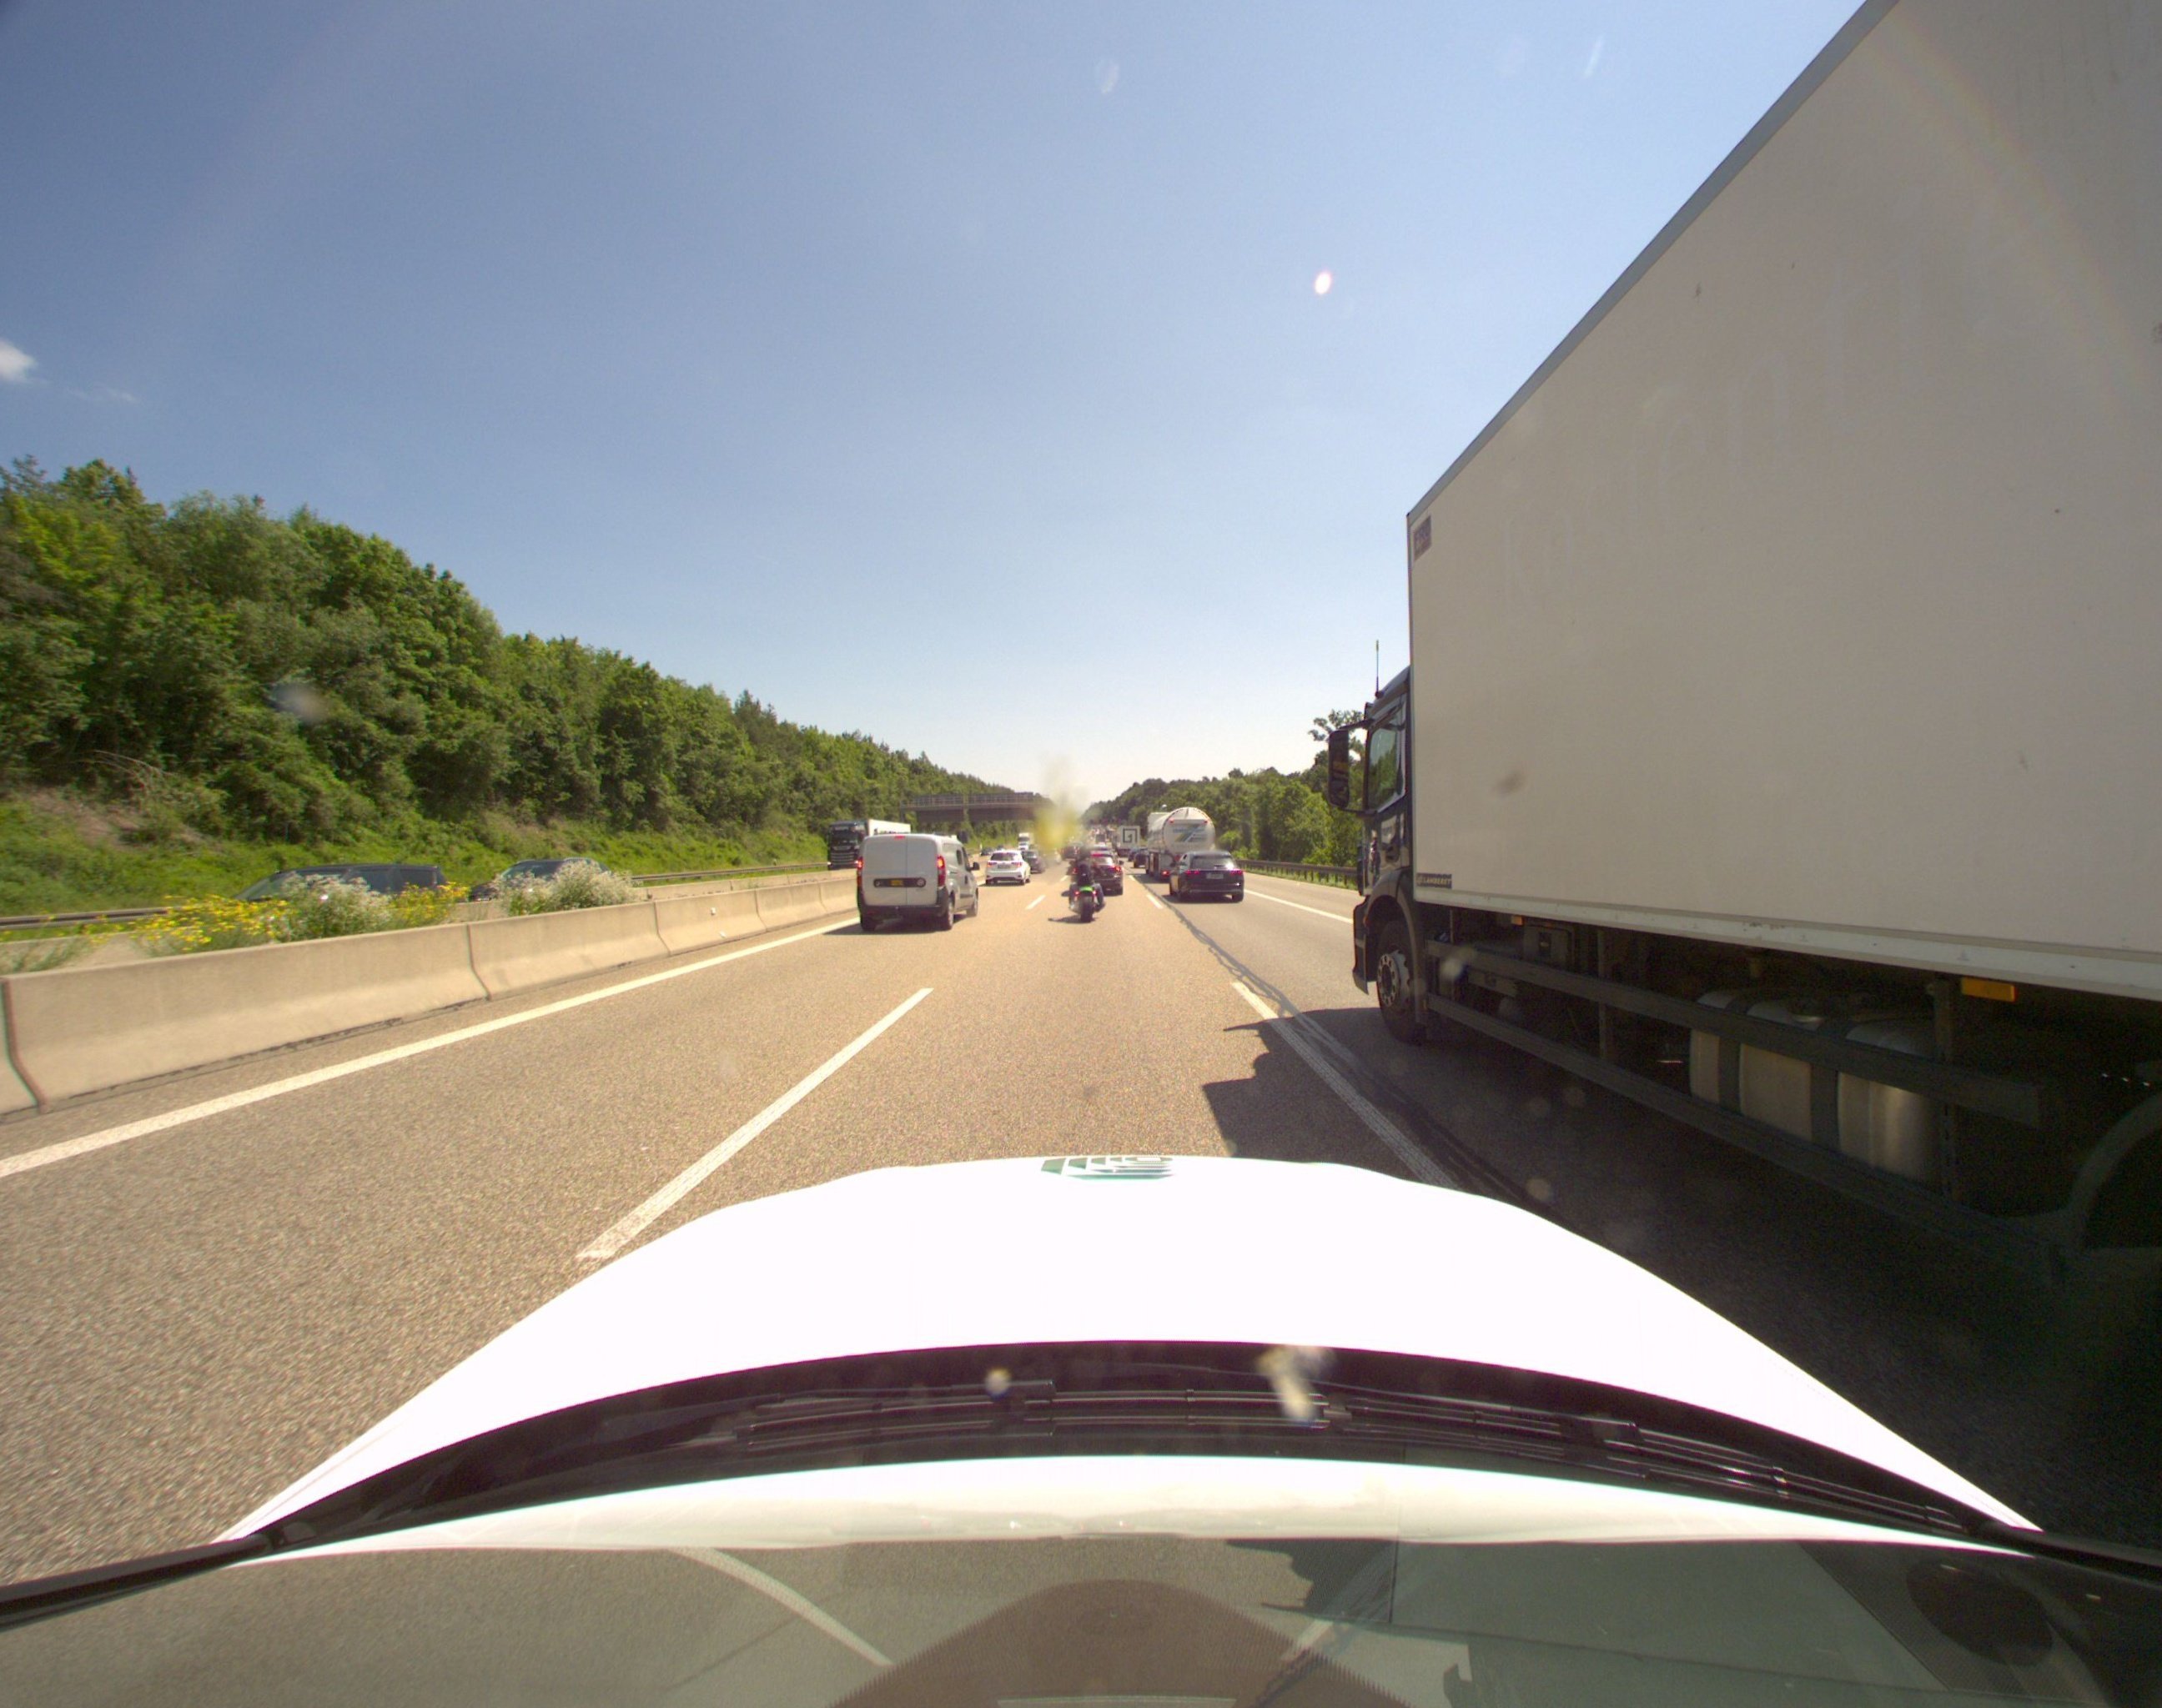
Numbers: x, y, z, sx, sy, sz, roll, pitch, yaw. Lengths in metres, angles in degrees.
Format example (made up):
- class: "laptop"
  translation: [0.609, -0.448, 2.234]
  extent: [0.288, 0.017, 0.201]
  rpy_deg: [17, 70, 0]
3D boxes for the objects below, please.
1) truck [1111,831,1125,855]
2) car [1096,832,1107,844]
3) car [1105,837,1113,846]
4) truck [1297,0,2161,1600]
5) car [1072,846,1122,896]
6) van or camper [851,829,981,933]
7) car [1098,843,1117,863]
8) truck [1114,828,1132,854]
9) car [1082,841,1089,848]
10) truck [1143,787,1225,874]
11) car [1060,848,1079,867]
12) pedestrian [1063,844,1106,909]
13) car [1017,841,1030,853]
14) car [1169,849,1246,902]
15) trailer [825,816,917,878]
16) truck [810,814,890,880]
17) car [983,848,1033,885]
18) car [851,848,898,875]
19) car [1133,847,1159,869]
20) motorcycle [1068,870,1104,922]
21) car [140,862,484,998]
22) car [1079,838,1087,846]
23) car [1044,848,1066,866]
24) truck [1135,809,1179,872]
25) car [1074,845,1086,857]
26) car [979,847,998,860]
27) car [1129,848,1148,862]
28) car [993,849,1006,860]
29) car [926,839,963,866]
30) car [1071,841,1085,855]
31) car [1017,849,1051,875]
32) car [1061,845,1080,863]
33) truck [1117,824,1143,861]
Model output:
- class: "truck"
  translation: [8.094, -2.470, 179.009]
  extent: [3.022, 5.139, 9.986]
  rpy_deg: [0, 0, 1]
- class: "car"
  translation: [4.927, -3.834, 196.521]
  extent: [2.495, 2.587, 5.018]
  rpy_deg: [-2, 0, 1]
- class: "car"
  translation: [7.377, -3.290, 215.266]
  extent: [1.986, 2.013, 4.001]
  rpy_deg: [-4, -1, 2]
- class: "truck"
  translation: [3.504, -0.465, 3.223]
  extent: [2.678, 3.876, 9.783]
  rpy_deg: [-4, 0, 1]
- class: "car"
  translation: [0.559, 0.549, 28.442]
  extent: [1.527, 1.510, 4.000]
  rpy_deg: [-3, 0, 1]
- class: "van or camper"
  translation: [-3.345, 0.524, 17.276]
  extent: [1.789, 1.892, 4.161]
  rpy_deg: [-1, -1, 1]
- class: "car"
  translation: [3.009, -0.109, 91.933]
  extent: [1.986, 2.013, 4.001]
  rpy_deg: [-4, -1, 2]
- class: "truck"
  translation: [7.533, -2.270, 147.999]
  extent: [3.022, 4.542, 9.986]
  rpy_deg: [0, 0, 1]
- class: "car"
  translation: [1.410, -2.638, 236.912]
  extent: [1.986, 2.013, 4.002]
  rpy_deg: [-1, 0, 2]
- class: "truck"
  translation: [4.881, -0.999, 40.452]
  extent: [2.977, 3.671, 9.290]
  rpy_deg: [-4, -1, 2]
- class: "car"
  translation: [-1.348, 0.433, 97.677]
  extent: [1.986, 2.013, 4.002]
  rpy_deg: [-4, -1, 2]
- class: "pedestrian"
  translation: [0.098, 0.480, 18.191]
  extent: [0.846, 1.361, 0.962]
  rpy_deg: [-3, 0, 2]
- class: "car"
  translation: [-11.240, -1.347, 158.995]
  extent: [1.873, 2.013, 4.470]
  rpy_deg: [-5, -1, 2]
- class: "car"
  translation: [3.762, 0.581, 24.835]
  extent: [1.822, 1.470, 4.001]
  rpy_deg: [-1, 0, 1]
- class: "trailer"
  translation: [-17.448, -0.508, 69.020]
  extent: [3.711, 4.528, 13.334]
  rpy_deg: [-4, -1, 2]
- class: "truck"
  translation: [-17.610, -0.470, 62.710]
  extent: [3.712, 4.528, 7.326]
  rpy_deg: [-4, -1, 1]
- class: "car"
  translation: [-3.138, 0.499, 35.838]
  extent: [1.693, 1.478, 4.001]
  rpy_deg: [-2, 0, 1]
- class: "car"
  translation: [-13.378, 0.482, 52.994]
  extent: [1.680, 1.607, 4.515]
  rpy_deg: [-4, -1, 1]
- class: "car"
  translation: [4.901, 0.257, 61.690]
  extent: [1.780, 1.555, 3.805]
  rpy_deg: [-2, 0, 1]
- class: "motorcycle"
  translation: [0.130, 0.893, 18.039]
  extent: [0.688, 1.015, 2.123]
  rpy_deg: [-1, 0, 3]
- class: "car"
  translation: [-11.122, 0.985, 12.173]
  extent: [1.636, 1.627, 3.544]
  rpy_deg: [-4, -1, 2]
- class: "car"
  translation: [0.502, -3.287, 215.497]
  extent: [1.986, 2.013, 4.001]
  rpy_deg: [-2, 0, 1]
- class: "car"
  translation: [-2.264, 0.221, 71.833]
  extent: [1.693, 1.478, 4.001]
  rpy_deg: [-2, 0, 1]
- class: "truck"
  translation: [4.538, -0.764, 49.419]
  extent: [1.988, 3.522, 4.749]
  rpy_deg: [-3, -1, -1]
- class: "car"
  translation: [-0.184, -0.483, 151.089]
  extent: [1.986, 2.013, 4.001]
  rpy_deg: [-4, -1, 2]
- class: "car"
  translation: [-11.842, -0.132, 104.480]
  extent: [1.873, 1.593, 4.001]
  rpy_deg: [-2, 0, 1]
- class: "car"
  translation: [5.990, 0.097, 84.759]
  extent: [1.780, 1.374, 3.805]
  rpy_deg: [-2, 0, 1]
- class: "car"
  translation: [-15.365, 0.139, 153.101]
  extent: [1.820, 2.013, 3.881]
  rpy_deg: [-4, -1, 2]
- class: "car"
  translation: [-12.869, -0.203, 77.171]
  extent: [1.986, 2.377, 7.367]
  rpy_deg: [-2, 0, 2]
- class: "car"
  translation: [-0.486, -0.889, 125.701]
  extent: [1.922, 2.013, 4.002]
  rpy_deg: [-4, -1, 2]
- class: "car"
  translation: [-2.822, 0.437, 49.378]
  extent: [1.693, 1.478, 4.001]
  rpy_deg: [-2, 0, 1]
- class: "car"
  translation: [-1.094, -0.024, 88.919]
  extent: [1.873, 1.859, 4.002]
  rpy_deg: [-1, 0, 2]
- class: "truck"
  translation: [6.409, -1.498, 108.073]
  extent: [3.022, 4.542, 9.986]
  rpy_deg: [0, 0, 1]
